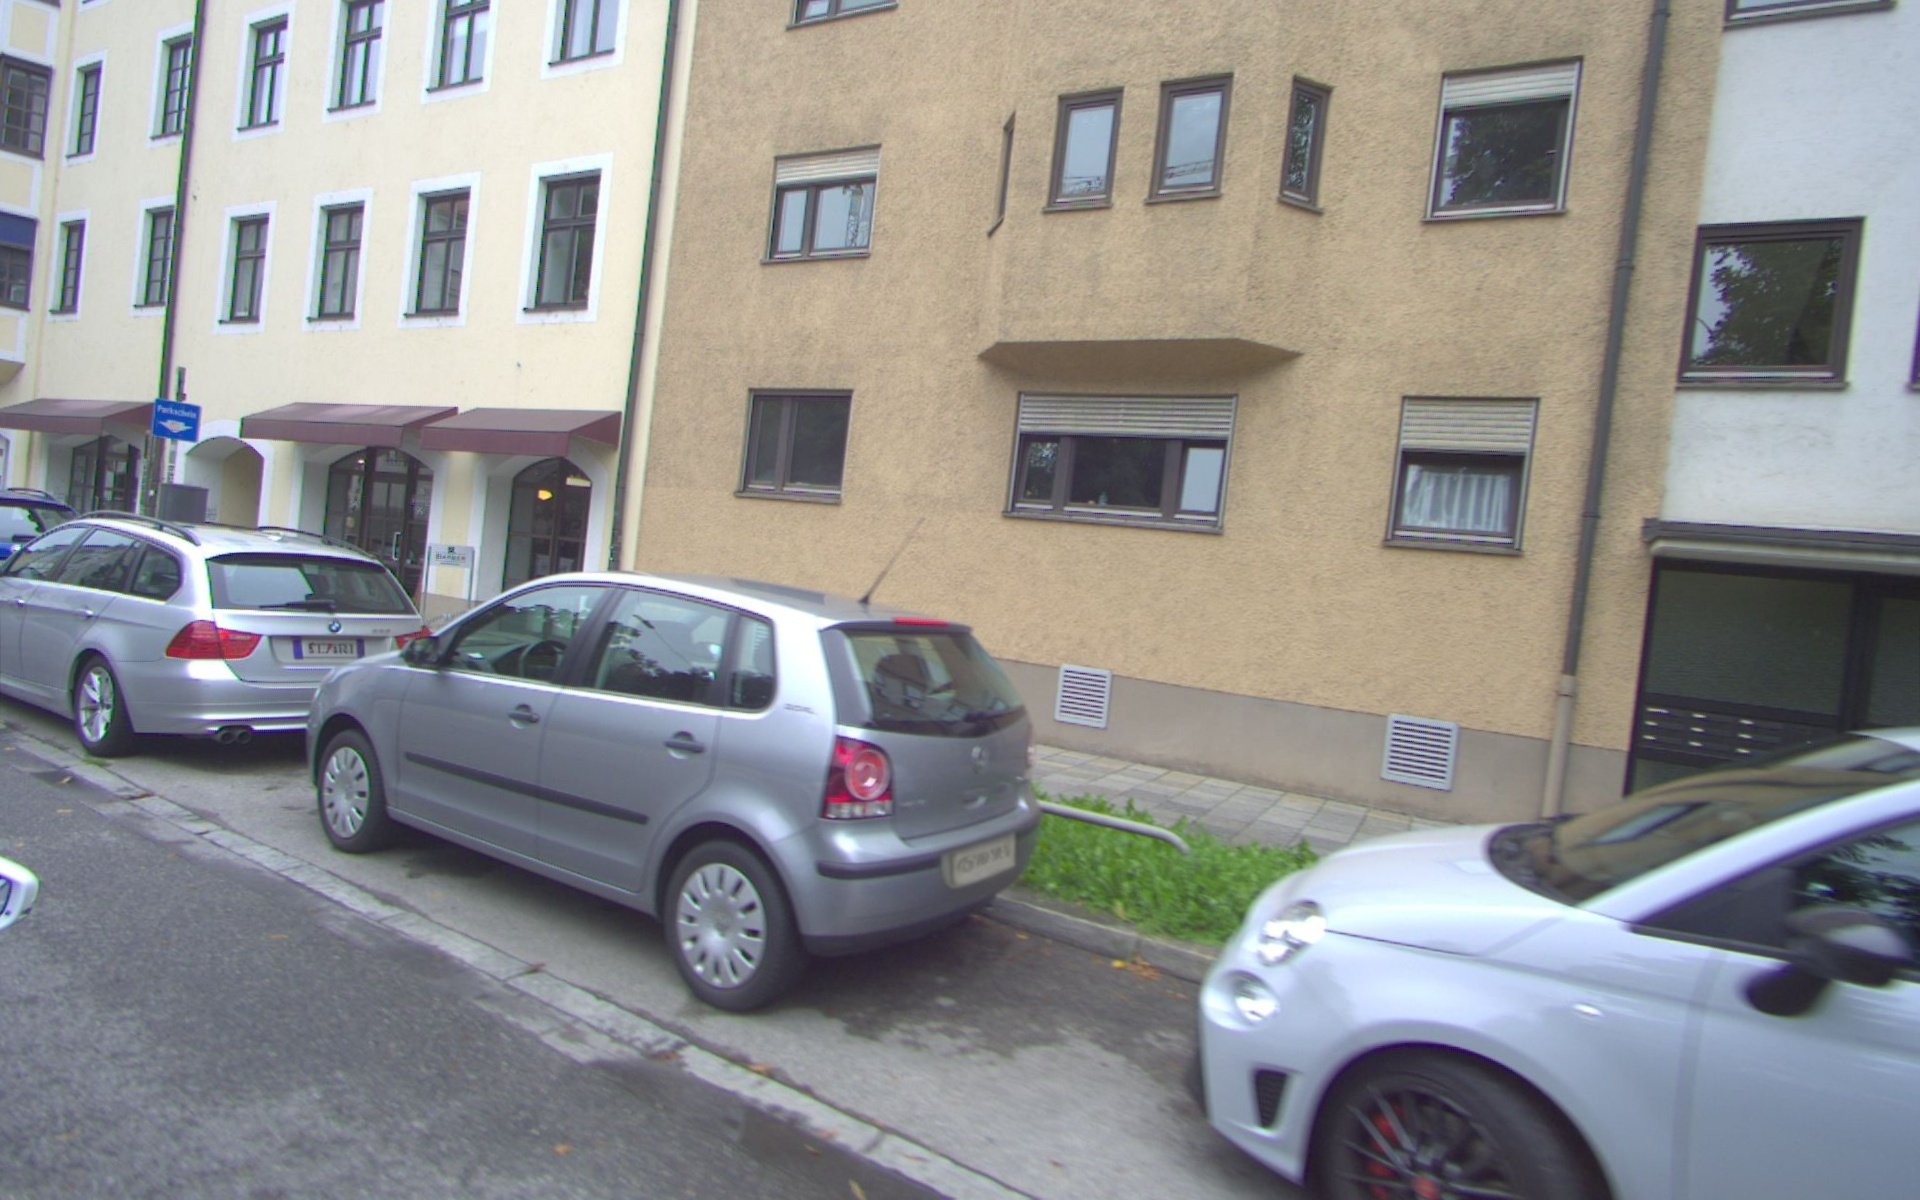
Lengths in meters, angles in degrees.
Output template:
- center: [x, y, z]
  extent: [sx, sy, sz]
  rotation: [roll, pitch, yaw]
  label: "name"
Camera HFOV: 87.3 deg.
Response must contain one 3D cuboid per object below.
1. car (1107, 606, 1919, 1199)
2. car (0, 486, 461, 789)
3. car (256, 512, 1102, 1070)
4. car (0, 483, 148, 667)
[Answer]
- center: [2.463, 0.985, 2.318]
  extent: [3.757, 1.516, 1.629]
  rotation: [7, 2, 31]
  label: "car"
- center: [-5.710, 0.071, 7.199]
  extent: [4.360, 1.516, 1.691]
  rotation: [7, 2, 31]
  label: "car"
- center: [-1.443, 0.537, 4.724]
  extent: [3.723, 1.516, 1.629]
  rotation: [7, 2, 31]
  label: "car"
- center: [-9.746, -0.410, 9.522]
  extent: [4.412, 1.516, 1.757]
  rotation: [7, 2, 31]
  label: "car"
